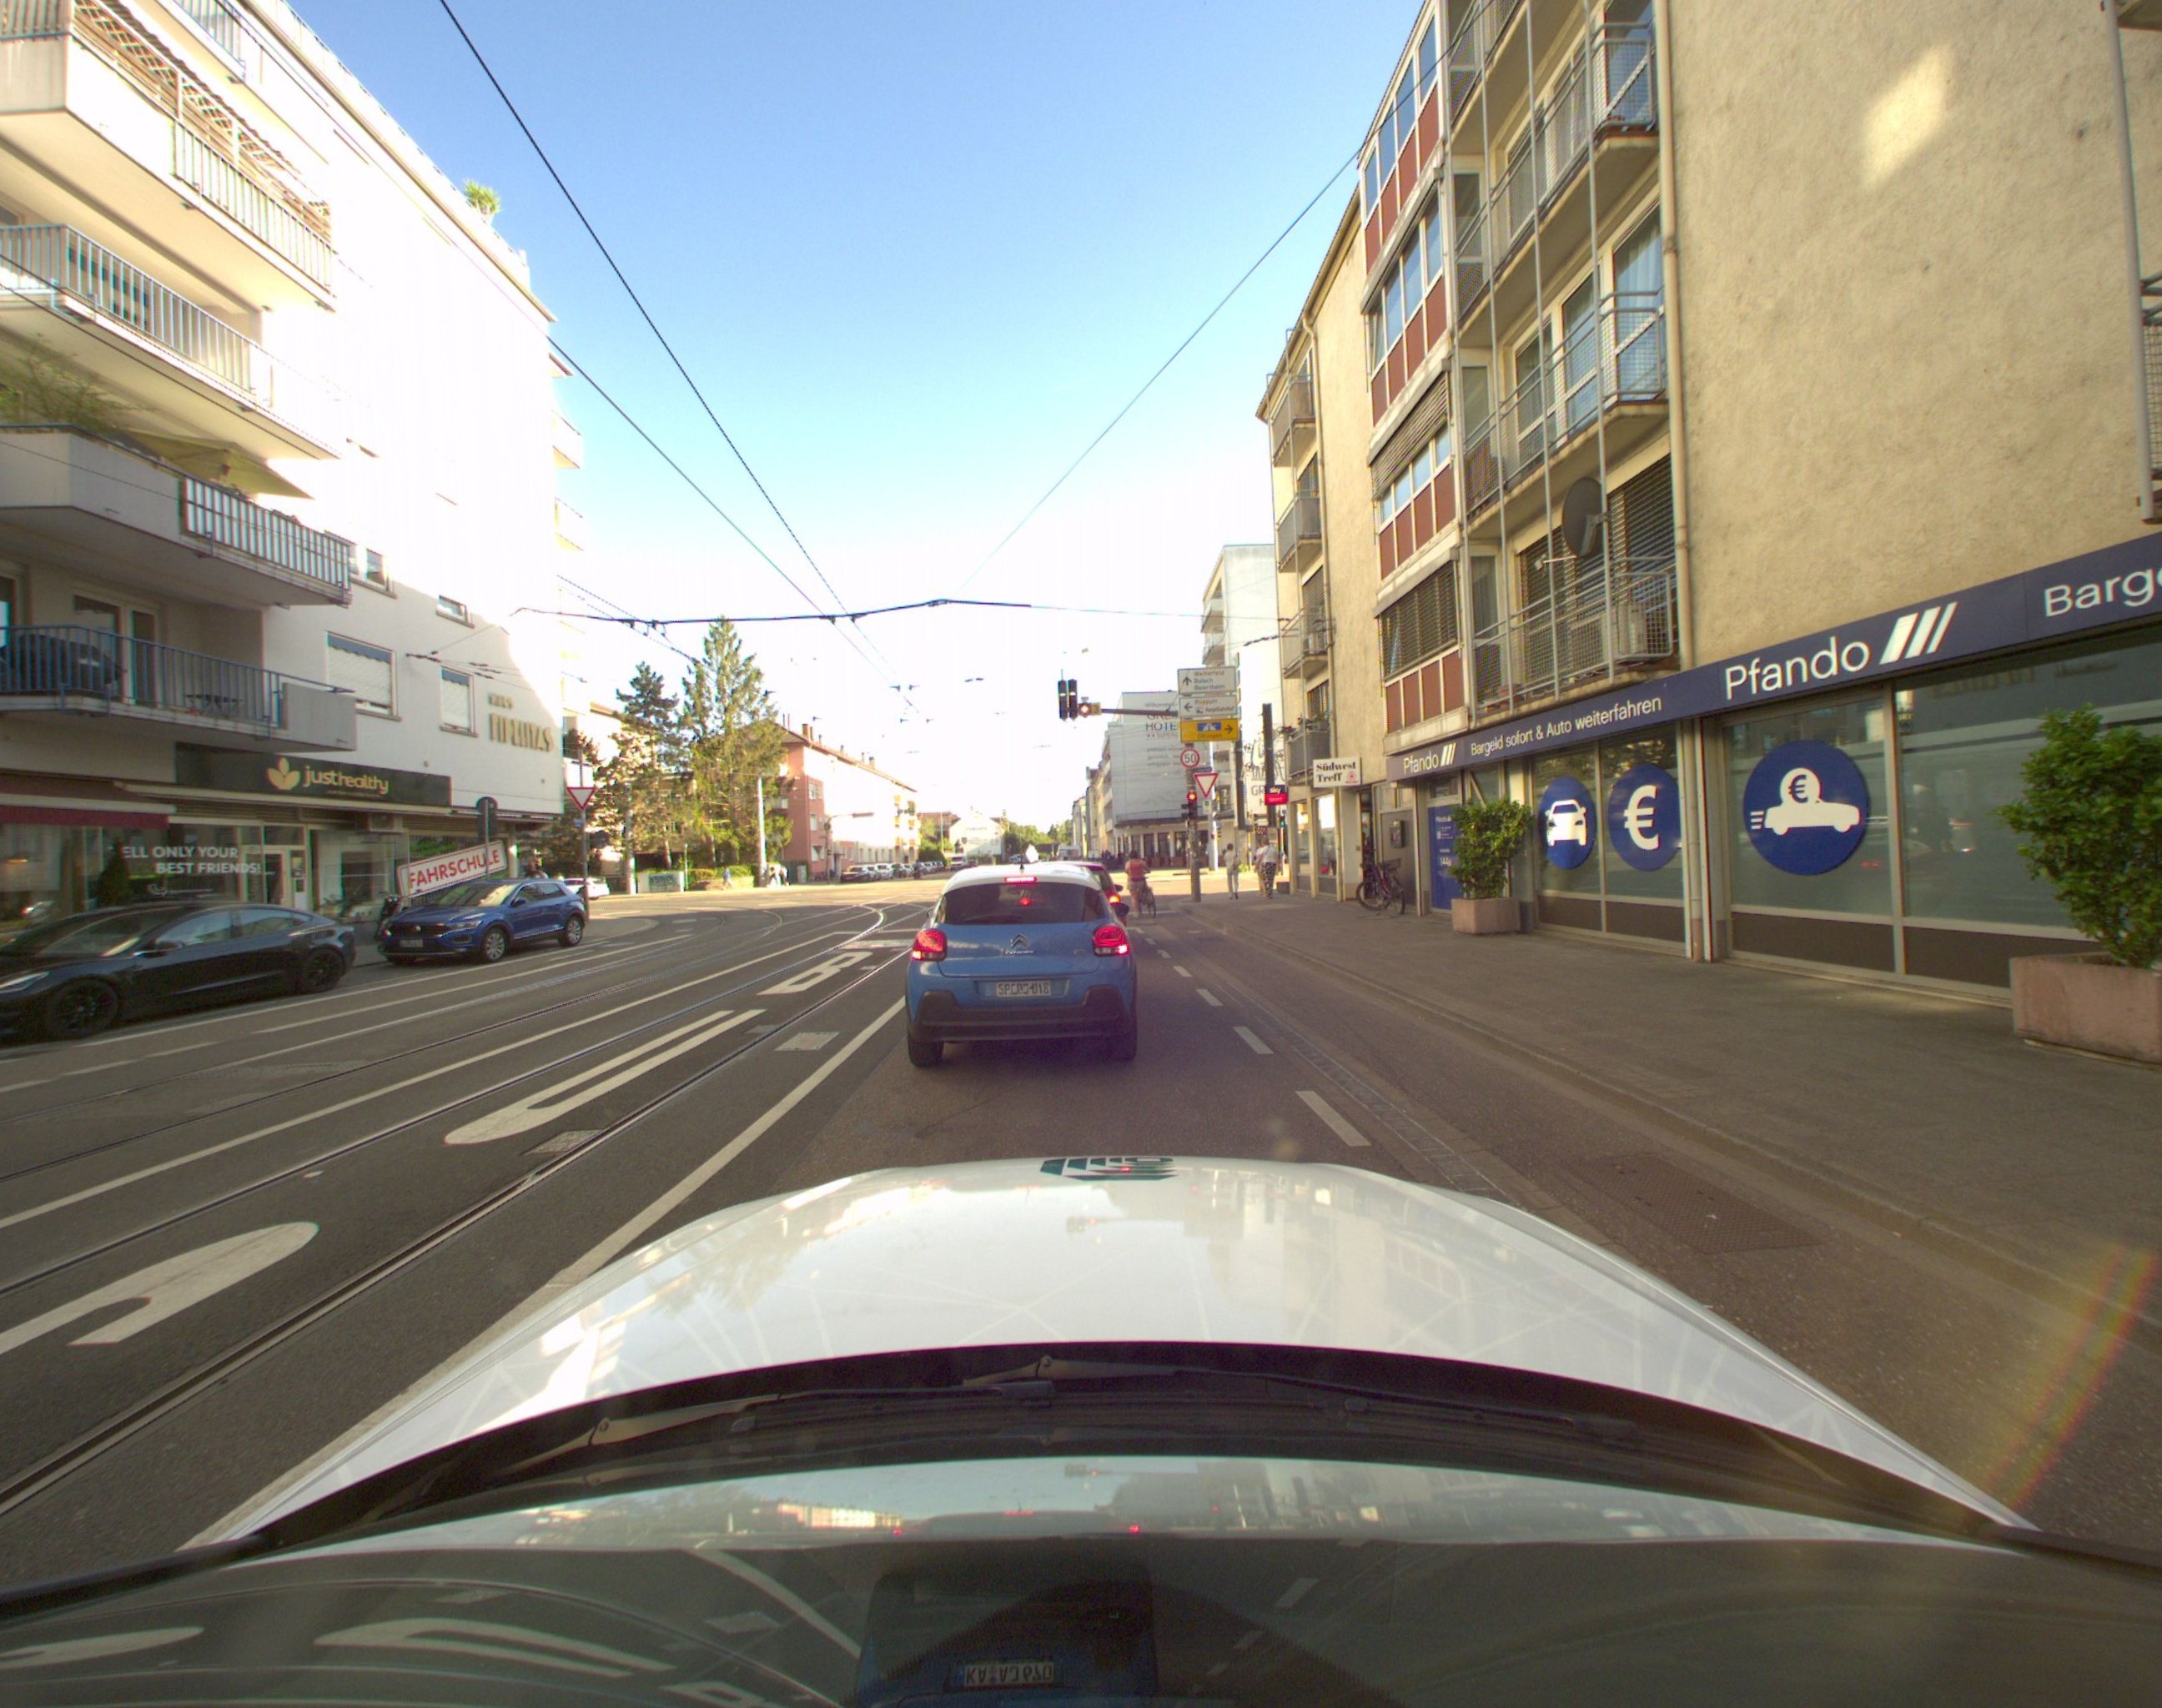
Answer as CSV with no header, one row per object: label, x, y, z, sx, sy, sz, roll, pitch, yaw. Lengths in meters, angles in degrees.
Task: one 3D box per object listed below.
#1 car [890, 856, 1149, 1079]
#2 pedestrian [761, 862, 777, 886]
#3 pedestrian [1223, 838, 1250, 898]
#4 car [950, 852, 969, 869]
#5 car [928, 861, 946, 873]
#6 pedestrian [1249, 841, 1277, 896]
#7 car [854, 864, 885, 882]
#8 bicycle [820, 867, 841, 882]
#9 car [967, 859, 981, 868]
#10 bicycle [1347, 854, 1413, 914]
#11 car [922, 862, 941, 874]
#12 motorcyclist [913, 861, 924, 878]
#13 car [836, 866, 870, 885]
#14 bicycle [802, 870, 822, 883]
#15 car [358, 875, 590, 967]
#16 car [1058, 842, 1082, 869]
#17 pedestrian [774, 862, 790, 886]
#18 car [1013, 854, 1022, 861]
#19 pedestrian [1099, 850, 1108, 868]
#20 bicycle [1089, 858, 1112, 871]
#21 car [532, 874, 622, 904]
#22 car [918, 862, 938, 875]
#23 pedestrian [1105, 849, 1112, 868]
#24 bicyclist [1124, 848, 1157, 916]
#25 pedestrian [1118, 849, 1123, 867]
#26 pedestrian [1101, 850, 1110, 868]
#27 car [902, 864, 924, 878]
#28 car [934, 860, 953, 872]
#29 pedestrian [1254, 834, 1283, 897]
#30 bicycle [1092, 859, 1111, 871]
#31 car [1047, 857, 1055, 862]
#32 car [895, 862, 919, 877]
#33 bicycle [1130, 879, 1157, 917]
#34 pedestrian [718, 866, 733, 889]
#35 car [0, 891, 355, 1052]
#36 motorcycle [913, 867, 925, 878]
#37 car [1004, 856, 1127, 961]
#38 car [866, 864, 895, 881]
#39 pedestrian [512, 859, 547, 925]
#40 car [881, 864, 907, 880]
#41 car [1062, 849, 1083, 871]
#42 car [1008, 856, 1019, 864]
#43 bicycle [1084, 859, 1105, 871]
car,-0.547,0.770,7.552,1.740,1.462,3.994,-1,0,-4
pedestrian,-23.106,1.460,60.291,0.840,1.690,0.738,-2,0,4
pedestrian,4.491,0.393,23.561,0.539,1.672,0.624,-4,1,0
car,-17.869,0.945,119.944,2.201,2.251,4.673,-3,0,-2
car,-20.607,1.879,116.853,1.865,1.574,3.997,-2,0,-2
pedestrian,5.172,0.406,23.149,0.539,1.507,0.611,-4,1,0
car,-19.519,1.726,75.186,1.906,1.497,3.997,-3,0,-2
bicycle,-22.809,1.877,74.226,0.845,1.225,3.304,-2,0,0
car,-19.129,1.737,145.167,2.016,1.525,3.997,-2,0,-2
bicycle,5.744,0.547,15.752,0.528,1.072,1.810,-2,0,-1
car,-20.524,1.899,111.755,1.906,1.497,3.997,-3,0,-2
motorcyclist,-13.488,1.266,67.608,0.716,1.378,0.912,-2,0,2
car,-19.424,1.769,69.452,1.907,1.433,3.995,-3,0,-4
bicycle,-22.464,1.865,68.083,0.730,0.952,2.597,-2,0,0
car,-11.872,1.222,16.316,1.740,1.509,3.996,-1,-1,-2
car,-1.000,0.155,72.638,1.988,2.325,3.998,-1,0,-1
pedestrian,-22.111,1.476,60.270,0.840,1.690,0.738,-2,0,4
car,-14.658,0.849,188.052,2.016,1.525,3.997,-3,0,-2
pedestrian,2.067,0.473,74.401,0.648,1.556,0.490,-2,0,-20
bicycle,1.609,0.893,67.177,1.866,0.957,0.702,-3,0,3
car,-31.787,2.190,51.458,4.390,1.574,1.848,-3,0,-12
car,-20.022,1.853,106.740,1.906,1.497,3.997,-3,0,-2
pedestrian,2.343,0.380,69.842,0.490,1.556,0.383,-2,0,-2
bicyclist,1.483,0.683,20.382,0.723,1.646,0.790,-2,0,1
pedestrian,3.413,0.352,70.236,0.284,1.556,0.304,-2,0,-7
pedestrian,2.190,0.458,72.593,0.648,1.556,0.490,-2,0,-20
car,-20.210,2.061,98.333,1.906,1.497,3.997,-3,0,-2
car,-20.562,1.816,122.282,2.024,1.619,4.509,-3,0,-1
pedestrian,5.133,0.300,22.322,0.539,1.672,0.650,-4,0,0
bicycle,1.666,0.886,66.115,1.497,0.957,0.702,-3,0,3
car,-7.468,1.329,200.506,1.752,1.259,3.825,-2,0,-5
car,-19.806,1.752,92.749,1.906,1.497,3.997,-3,0,-2
bicycle,1.569,1.092,20.680,0.497,0.864,1.748,-2,0,0
pedestrian,-25.186,1.655,57.673,0.854,1.625,0.510,-2,0,-32
car,-12.015,1.316,10.373,1.694,1.509,4.310,-1,-1,-1
motorcycle,-13.482,1.554,67.762,0.613,0.864,1.671,-2,0,2
car,-0.161,0.794,13.770,1.732,1.420,4.002,-2,0,2
car,-19.582,1.780,79.814,1.906,1.497,3.997,-3,0,-2
pedestrian,-17.319,1.194,25.562,0.684,2.013,0.486,-2,0,1
car,-19.806,1.886,86.606,1.906,1.497,3.997,-3,0,-2
car,-0.720,0.464,67.711,1.727,1.750,3.212,-1,0,-1
car,-14.052,1.326,169.982,2.016,1.525,3.997,-2,0,-2
bicycle,1.131,0.916,68.548,1.713,0.957,0.702,-3,0,3
